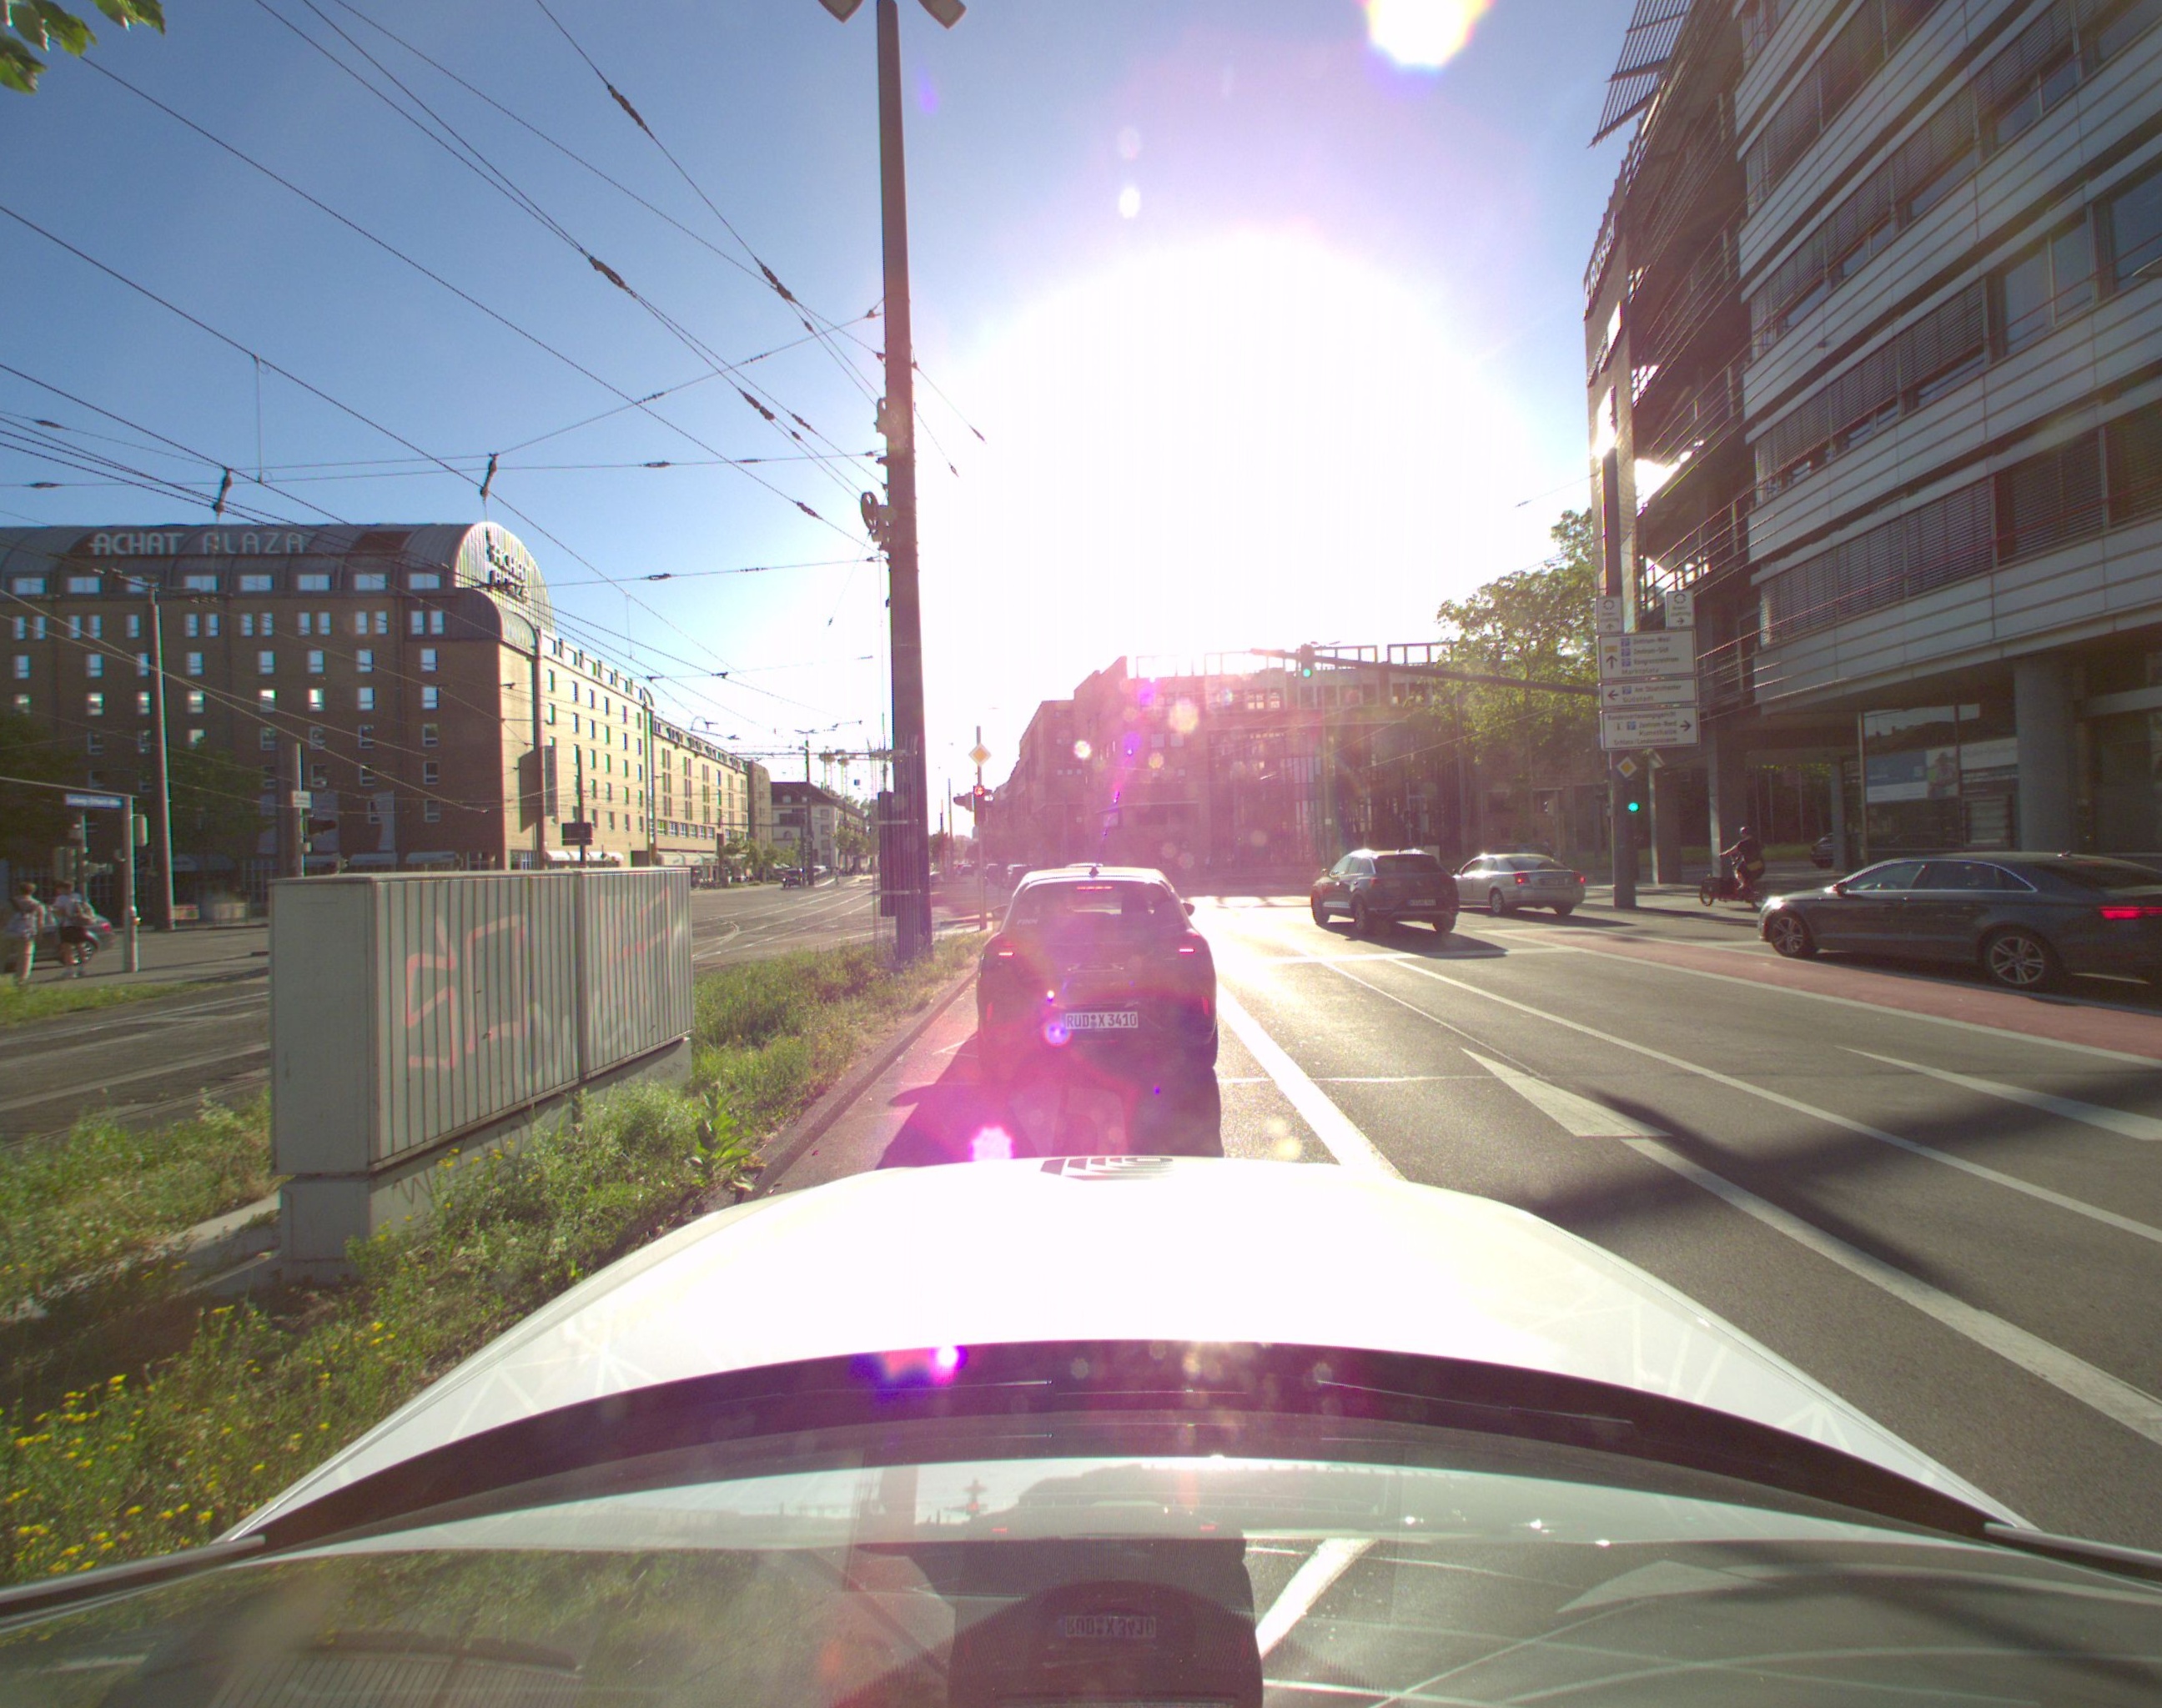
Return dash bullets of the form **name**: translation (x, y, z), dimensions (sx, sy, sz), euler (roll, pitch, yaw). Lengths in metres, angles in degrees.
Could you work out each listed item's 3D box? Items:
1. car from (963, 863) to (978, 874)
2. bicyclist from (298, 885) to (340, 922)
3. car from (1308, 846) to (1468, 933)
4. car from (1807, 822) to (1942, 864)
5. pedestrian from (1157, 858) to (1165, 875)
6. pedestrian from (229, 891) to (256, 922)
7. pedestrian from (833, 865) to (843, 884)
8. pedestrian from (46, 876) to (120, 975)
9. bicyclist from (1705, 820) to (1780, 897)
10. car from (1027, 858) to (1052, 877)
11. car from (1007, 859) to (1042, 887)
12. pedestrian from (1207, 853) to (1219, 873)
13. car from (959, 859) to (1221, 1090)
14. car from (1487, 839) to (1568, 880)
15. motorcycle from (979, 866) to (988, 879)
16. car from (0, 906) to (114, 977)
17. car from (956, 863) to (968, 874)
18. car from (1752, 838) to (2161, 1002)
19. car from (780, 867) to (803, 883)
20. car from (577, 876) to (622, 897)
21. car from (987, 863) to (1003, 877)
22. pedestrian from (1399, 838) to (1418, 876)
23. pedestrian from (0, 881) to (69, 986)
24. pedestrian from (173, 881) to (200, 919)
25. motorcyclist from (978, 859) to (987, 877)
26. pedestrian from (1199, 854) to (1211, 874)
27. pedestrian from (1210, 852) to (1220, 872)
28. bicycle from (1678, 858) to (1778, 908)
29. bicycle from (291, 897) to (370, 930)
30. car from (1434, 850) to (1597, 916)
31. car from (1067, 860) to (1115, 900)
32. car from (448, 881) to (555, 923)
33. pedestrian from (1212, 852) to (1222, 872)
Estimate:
- **car**: translation (-14.462, 1.822, 106.232), dimensions (1.737, 1.349, 3.986), euler (-2, 0, -10)
- **bicyclist**: translation (-30.006, 1.938, 32.065), dimensions (0.756, 1.375, 0.949), euler (-2, 0, -6)
- **car**: translation (6.033, 0.640, 16.489), dimensions (1.739, 1.505, 3.880), euler (-2, 0, 0)
- **car**: translation (32.675, -0.436, 33.597), dimensions (3.981, 1.651, 1.861), euler (-1, 0, -6)
- **pedestrian**: translation (6.801, 1.042, 69.297), dimensions (0.527, 1.430, 0.598), euler (-2, 0, 1)
- **pedestrian**: translation (-42.523, 2.661, 41.304), dimensions (0.674, 1.503, 0.659), euler (-2, 0, -1)
- **pedestrian**: translation (-21.880, 1.870, 73.363), dimensions (0.766, 1.640, 0.741), euler (-2, 0, -13)
- **pedestrian**: translation (-19.201, 1.358, 15.679), dimensions (0.562, 1.817, 0.662), euler (-2, 0, -5)
- **bicyclist**: translation (14.438, 0.108, 17.801), dimensions (0.622, 1.566, 1.044), euler (-7, -1, 2)
- **car**: translation (-3.289, 1.038, 63.631), dimensions (1.804, 1.457, 3.994), euler (-1, 0, -4)
- **car**: translation (-3.416, 1.118, 48.580), dimensions (1.809, 1.492, 4.486), euler (-3, 0, -6)
- **pedestrian**: translation (10.922, 0.726, 67.236), dimensions (0.894, 1.617, 0.562), euler (-2, 0, 10)
- **car**: translation (0.164, 0.791, 7.233), dimensions (1.642, 1.433, 4.003), euler (-2, 0, 3)
- **car**: translation (19.328, 0.231, 35.149), dimensions (4.487, 1.629, 1.673), euler (-2, 0, -42)
- **motorcycle**: translation (-8.829, 1.704, 73.819), dimensions (0.774, 1.115, 1.964), euler (-2, 0, -7)
- **car**: translation (-24.663, 2.056, 17.983), dimensions (1.719, 1.422, 4.139), euler (-4, 0, -4)
- **car**: translation (-18.161, 2.155, 123.947), dimensions (1.737, 1.651, 3.987), euler (-2, 0, -9)
- **car**: translation (10.355, 0.589, 9.448), dimensions (1.704, 1.441, 4.110), euler (-2, 0, 0)
- **car**: translation (-28.178, 2.041, 79.354), dimensions (1.748, 1.505, 3.860), euler (-2, 0, -15)
- **car**: translation (-36.005, 2.427, 61.000), dimensions (1.756, 1.388, 3.982), euler (-2, 0, -13)
- **car**: translation (-9.962, 1.817, 94.157), dimensions (1.805, 1.457, 3.991), euler (-1, 0, -6)
- **pedestrian**: translation (15.533, 0.156, 38.598), dimensions (0.700, 1.759, 0.564), euler (-2, -1, 27)
- **pedestrian**: translation (-19.217, 1.430, 14.848), dimensions (0.630, 1.830, 0.662), euler (-2, 0, -5)
- **pedestrian**: translation (-48.932, 2.504, 44.542), dimensions (0.663, 2.013, 0.678), euler (-2, 0, 3)
- **motorcyclist**: translation (-8.887, 1.273, 73.769), dimensions (0.744, 1.530, 1.018), euler (-2, 0, -6)
- **pedestrian**: translation (10.378, 0.808, 67.939), dimensions (0.894, 1.617, 0.562), euler (-2, 0, 10)
- **pedestrian**: translation (11.485, 0.689, 69.731), dimensions (0.733, 1.617, 0.562), euler (-2, 0, 10)
- **bicycle**: translation (14.399, 0.609, 18.200), dimensions (0.497, 1.032, 2.207), euler (-2, 0, 2)
- **bicycle**: translation (-29.956, 2.341, 32.579), dimensions (0.649, 1.085, 2.920), euler (-2, 0, -6)
- **car**: translation (10.699, 0.659, 20.471), dimensions (1.744, 1.431, 4.490), euler (-2, 0, 1)
- **car**: translation (0.363, 1.021, 33.538), dimensions (1.682, 1.433, 4.149), euler (2, 1, -3)
- **car**: translation (-23.552, 1.897, 33.285), dimensions (1.569, 1.449, 3.996), euler (-2, 0, -3)
- **pedestrian**: translation (11.480, 0.684, 68.800), dimensions (0.733, 1.617, 0.562), euler (-2, 0, 10)
